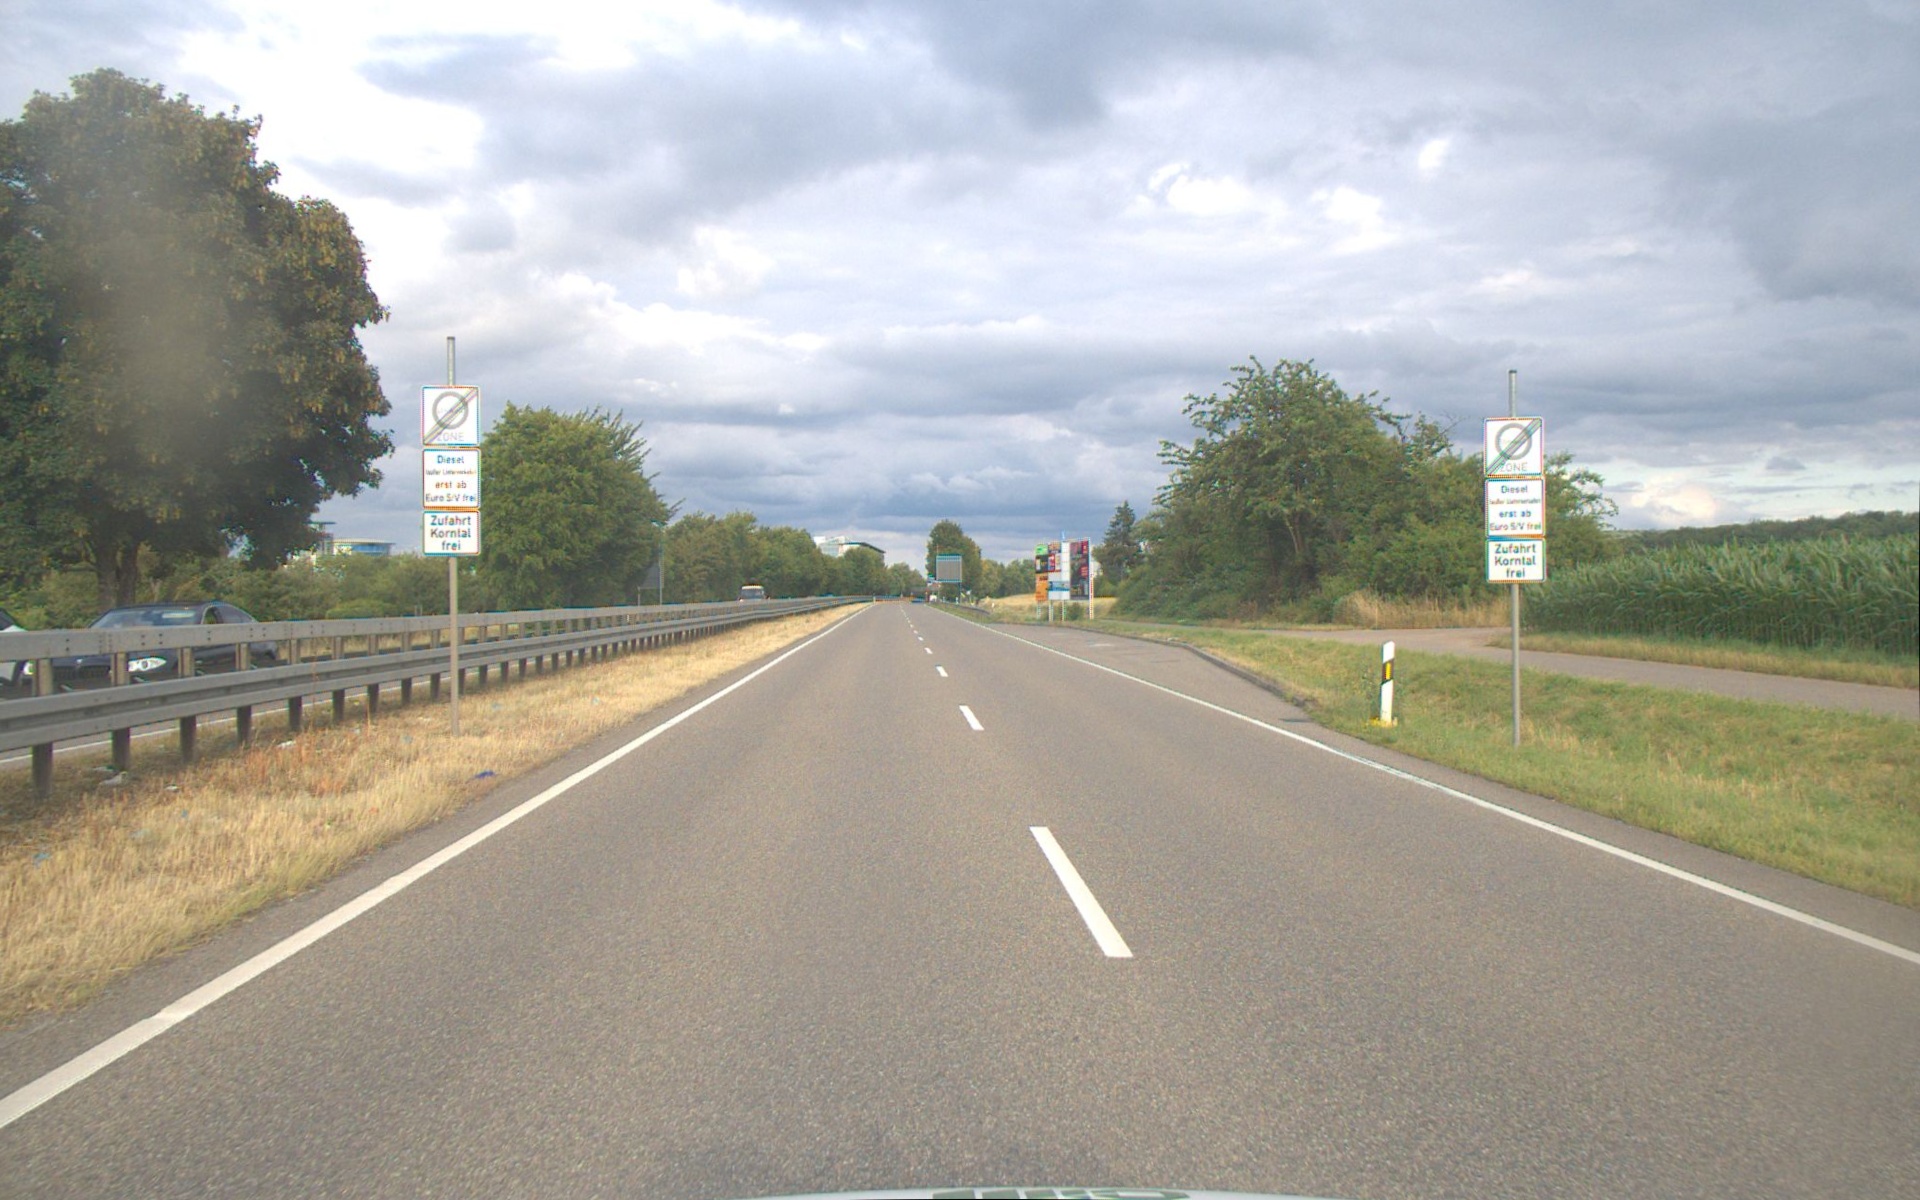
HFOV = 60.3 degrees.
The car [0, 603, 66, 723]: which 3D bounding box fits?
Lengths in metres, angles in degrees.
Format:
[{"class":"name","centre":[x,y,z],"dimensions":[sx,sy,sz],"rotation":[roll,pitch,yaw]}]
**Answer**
[{"class":"car","centre":[-13.801,0.872,21.856],"dimensions":[1.829,1.591,4.149],"rotation":[-1,0,-3]}]

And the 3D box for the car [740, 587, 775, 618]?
[{"class":"car","centre":[-14.868,0.174,121.710],"dimensions":[1.953,2.178,5.317],"rotation":[-2,0,-1]}]

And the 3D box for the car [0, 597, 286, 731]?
[{"class":"car","centre":[-10.653,0.742,21.609],"dimensions":[1.829,1.503,4.933],"rotation":[-1,0,-3]}]
